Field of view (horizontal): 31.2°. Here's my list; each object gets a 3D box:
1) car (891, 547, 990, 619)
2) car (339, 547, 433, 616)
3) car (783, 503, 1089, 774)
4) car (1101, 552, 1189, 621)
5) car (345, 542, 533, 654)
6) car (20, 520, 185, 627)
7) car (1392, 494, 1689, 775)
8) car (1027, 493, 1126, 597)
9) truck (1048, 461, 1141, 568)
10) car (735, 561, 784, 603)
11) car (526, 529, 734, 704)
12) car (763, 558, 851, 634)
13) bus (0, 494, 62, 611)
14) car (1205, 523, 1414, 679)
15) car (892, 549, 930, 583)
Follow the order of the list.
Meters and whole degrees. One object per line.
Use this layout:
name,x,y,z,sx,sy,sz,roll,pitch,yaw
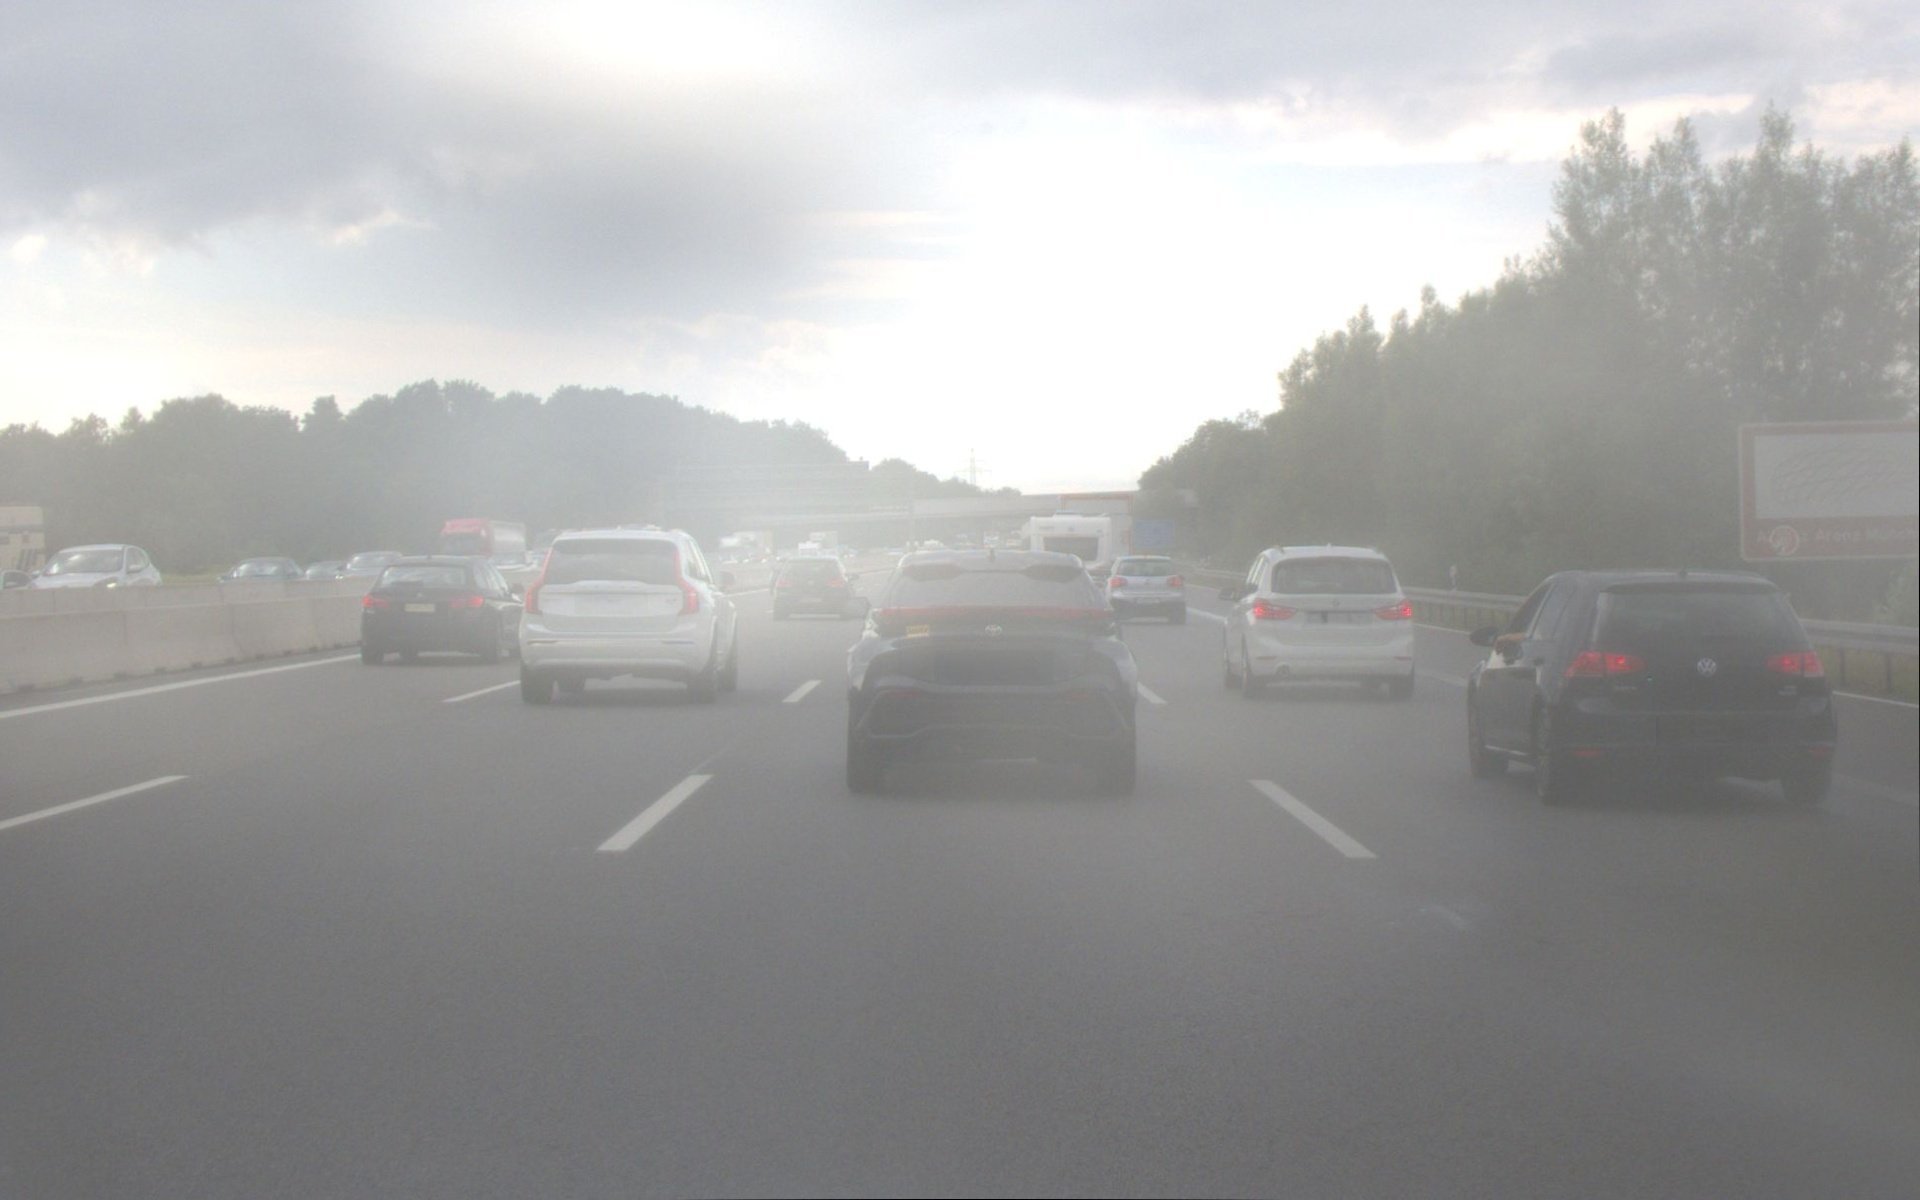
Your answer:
car,-0.366,-0.365,68.815,1.885,1.402,4.282,0,1,1
car,-17.037,-0.575,102.249,1.993,2.007,5.182,0,1,0
car,-0.258,0.195,22.736,1.780,1.607,4.598,0,1,-3
car,4.015,-0.311,75.099,1.795,1.472,4.037,0,1,1
car,-7.176,-0.056,47.738,1.781,1.476,4.352,0,1,2
car,-16.675,-0.538,67.074,1.993,2.007,4.763,0,1,0
car,3.791,0.167,22.242,1.707,1.625,4.455,0,1,11
car,3.307,-1.569,99.102,2.567,2.885,7.534,0,1,0
truck,4.777,-3.026,123.745,3.133,3.697,9.847,0,1,1
car,-7.171,-0.654,123.073,1.563,1.472,3.920,0,1,-1
car,-3.360,0.129,35.677,1.781,1.710,4.353,0,1,-1
car,-3.473,-0.106,78.745,1.881,1.680,4.000,0,1,-1
bus,-28.663,-1.376,98.936,2.831,3.321,9.963,0,1,1
car,3.728,-0.022,37.414,1.810,1.593,4.696,0,1,0
car,-2.439,-1.717,172.650,1.881,1.680,4.000,0,1,-1
